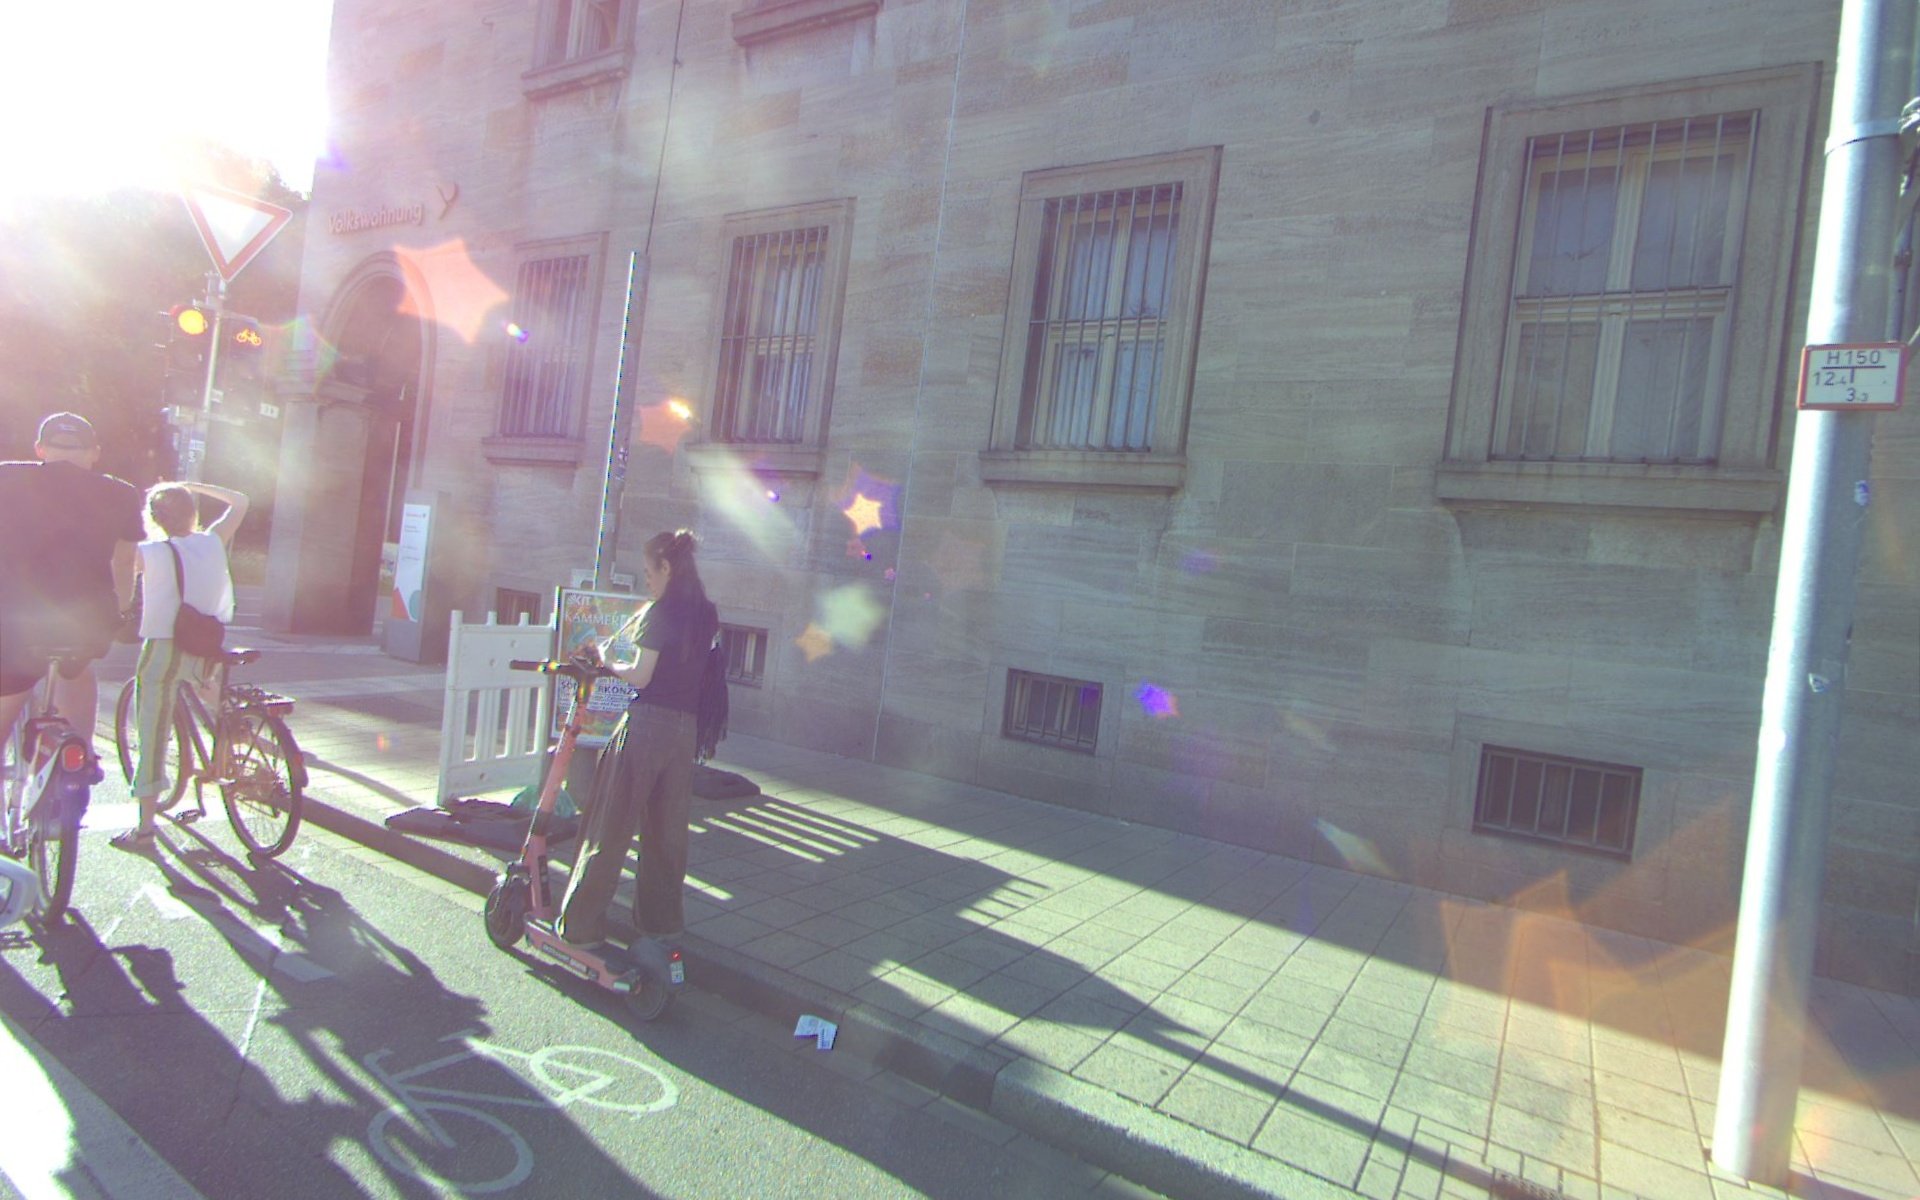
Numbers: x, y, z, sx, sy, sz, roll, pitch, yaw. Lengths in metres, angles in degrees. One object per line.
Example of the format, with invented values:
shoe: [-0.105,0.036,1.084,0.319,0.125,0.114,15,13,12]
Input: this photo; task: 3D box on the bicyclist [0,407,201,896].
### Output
bicyclist: [-3.663,0.170,3.976,0.897,1.736,0.624,7,0,31]

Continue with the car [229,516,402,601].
car: [-20.283,-1.260,31.798,1.968,2.037,3.994,6,-2,33]

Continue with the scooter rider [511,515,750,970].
scooter rider: [-1.272,0.506,3.866,0.542,1.581,0.570,7,0,-40]

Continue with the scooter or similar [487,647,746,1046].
scooter or similar: [-1.372,0.823,3.874,0.569,1.165,1.260,2,3,-35]

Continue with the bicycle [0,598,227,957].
bicycle: [-3.727,0.590,3.982,1.717,1.057,0.624,7,0,31]

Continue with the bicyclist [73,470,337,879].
bicyclist: [-3.648,0.315,4.858,0.934,1.760,0.584,7,0,32]

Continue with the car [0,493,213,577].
car: [-23.484,-1.750,27.342,1.967,1.533,4.586,6,-2,32]

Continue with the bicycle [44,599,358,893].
bicycle: [-3.715,0.629,4.879,1.718,1.057,0.582,7,0,33]
